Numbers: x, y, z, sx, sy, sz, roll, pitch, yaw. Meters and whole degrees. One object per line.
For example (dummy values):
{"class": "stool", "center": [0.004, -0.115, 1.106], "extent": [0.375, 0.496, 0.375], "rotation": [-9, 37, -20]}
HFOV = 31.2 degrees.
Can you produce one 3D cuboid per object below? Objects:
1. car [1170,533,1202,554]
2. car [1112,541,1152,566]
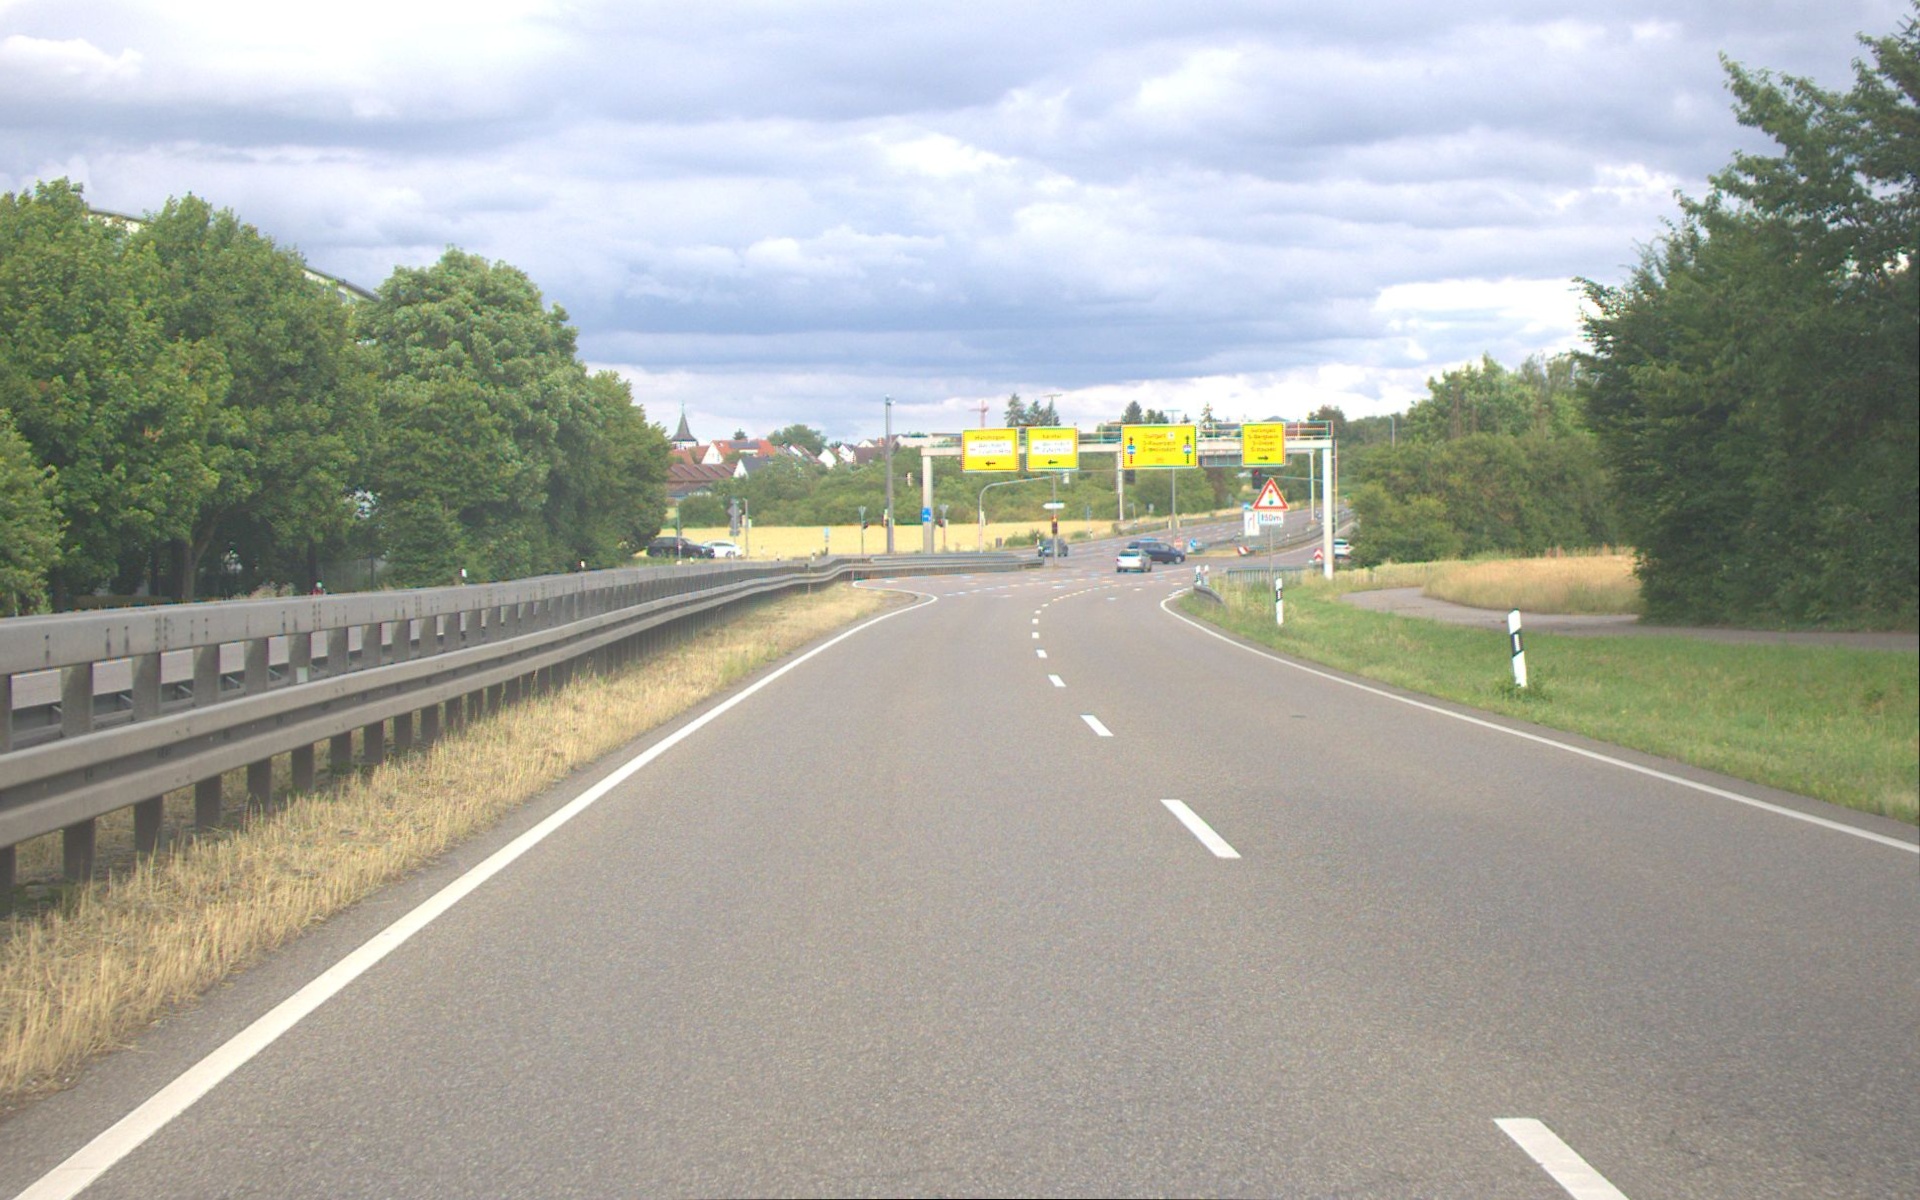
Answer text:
{"class": "car", "center": [16.858, -4.230, 256.304], "extent": [1.799, 1.551, 3.998], "rotation": [0, 1, 13]}
{"class": "car", "center": [10.767, -2.885, 214.686], "extent": [1.799, 1.551, 3.998], "rotation": [0, 1, 13]}
